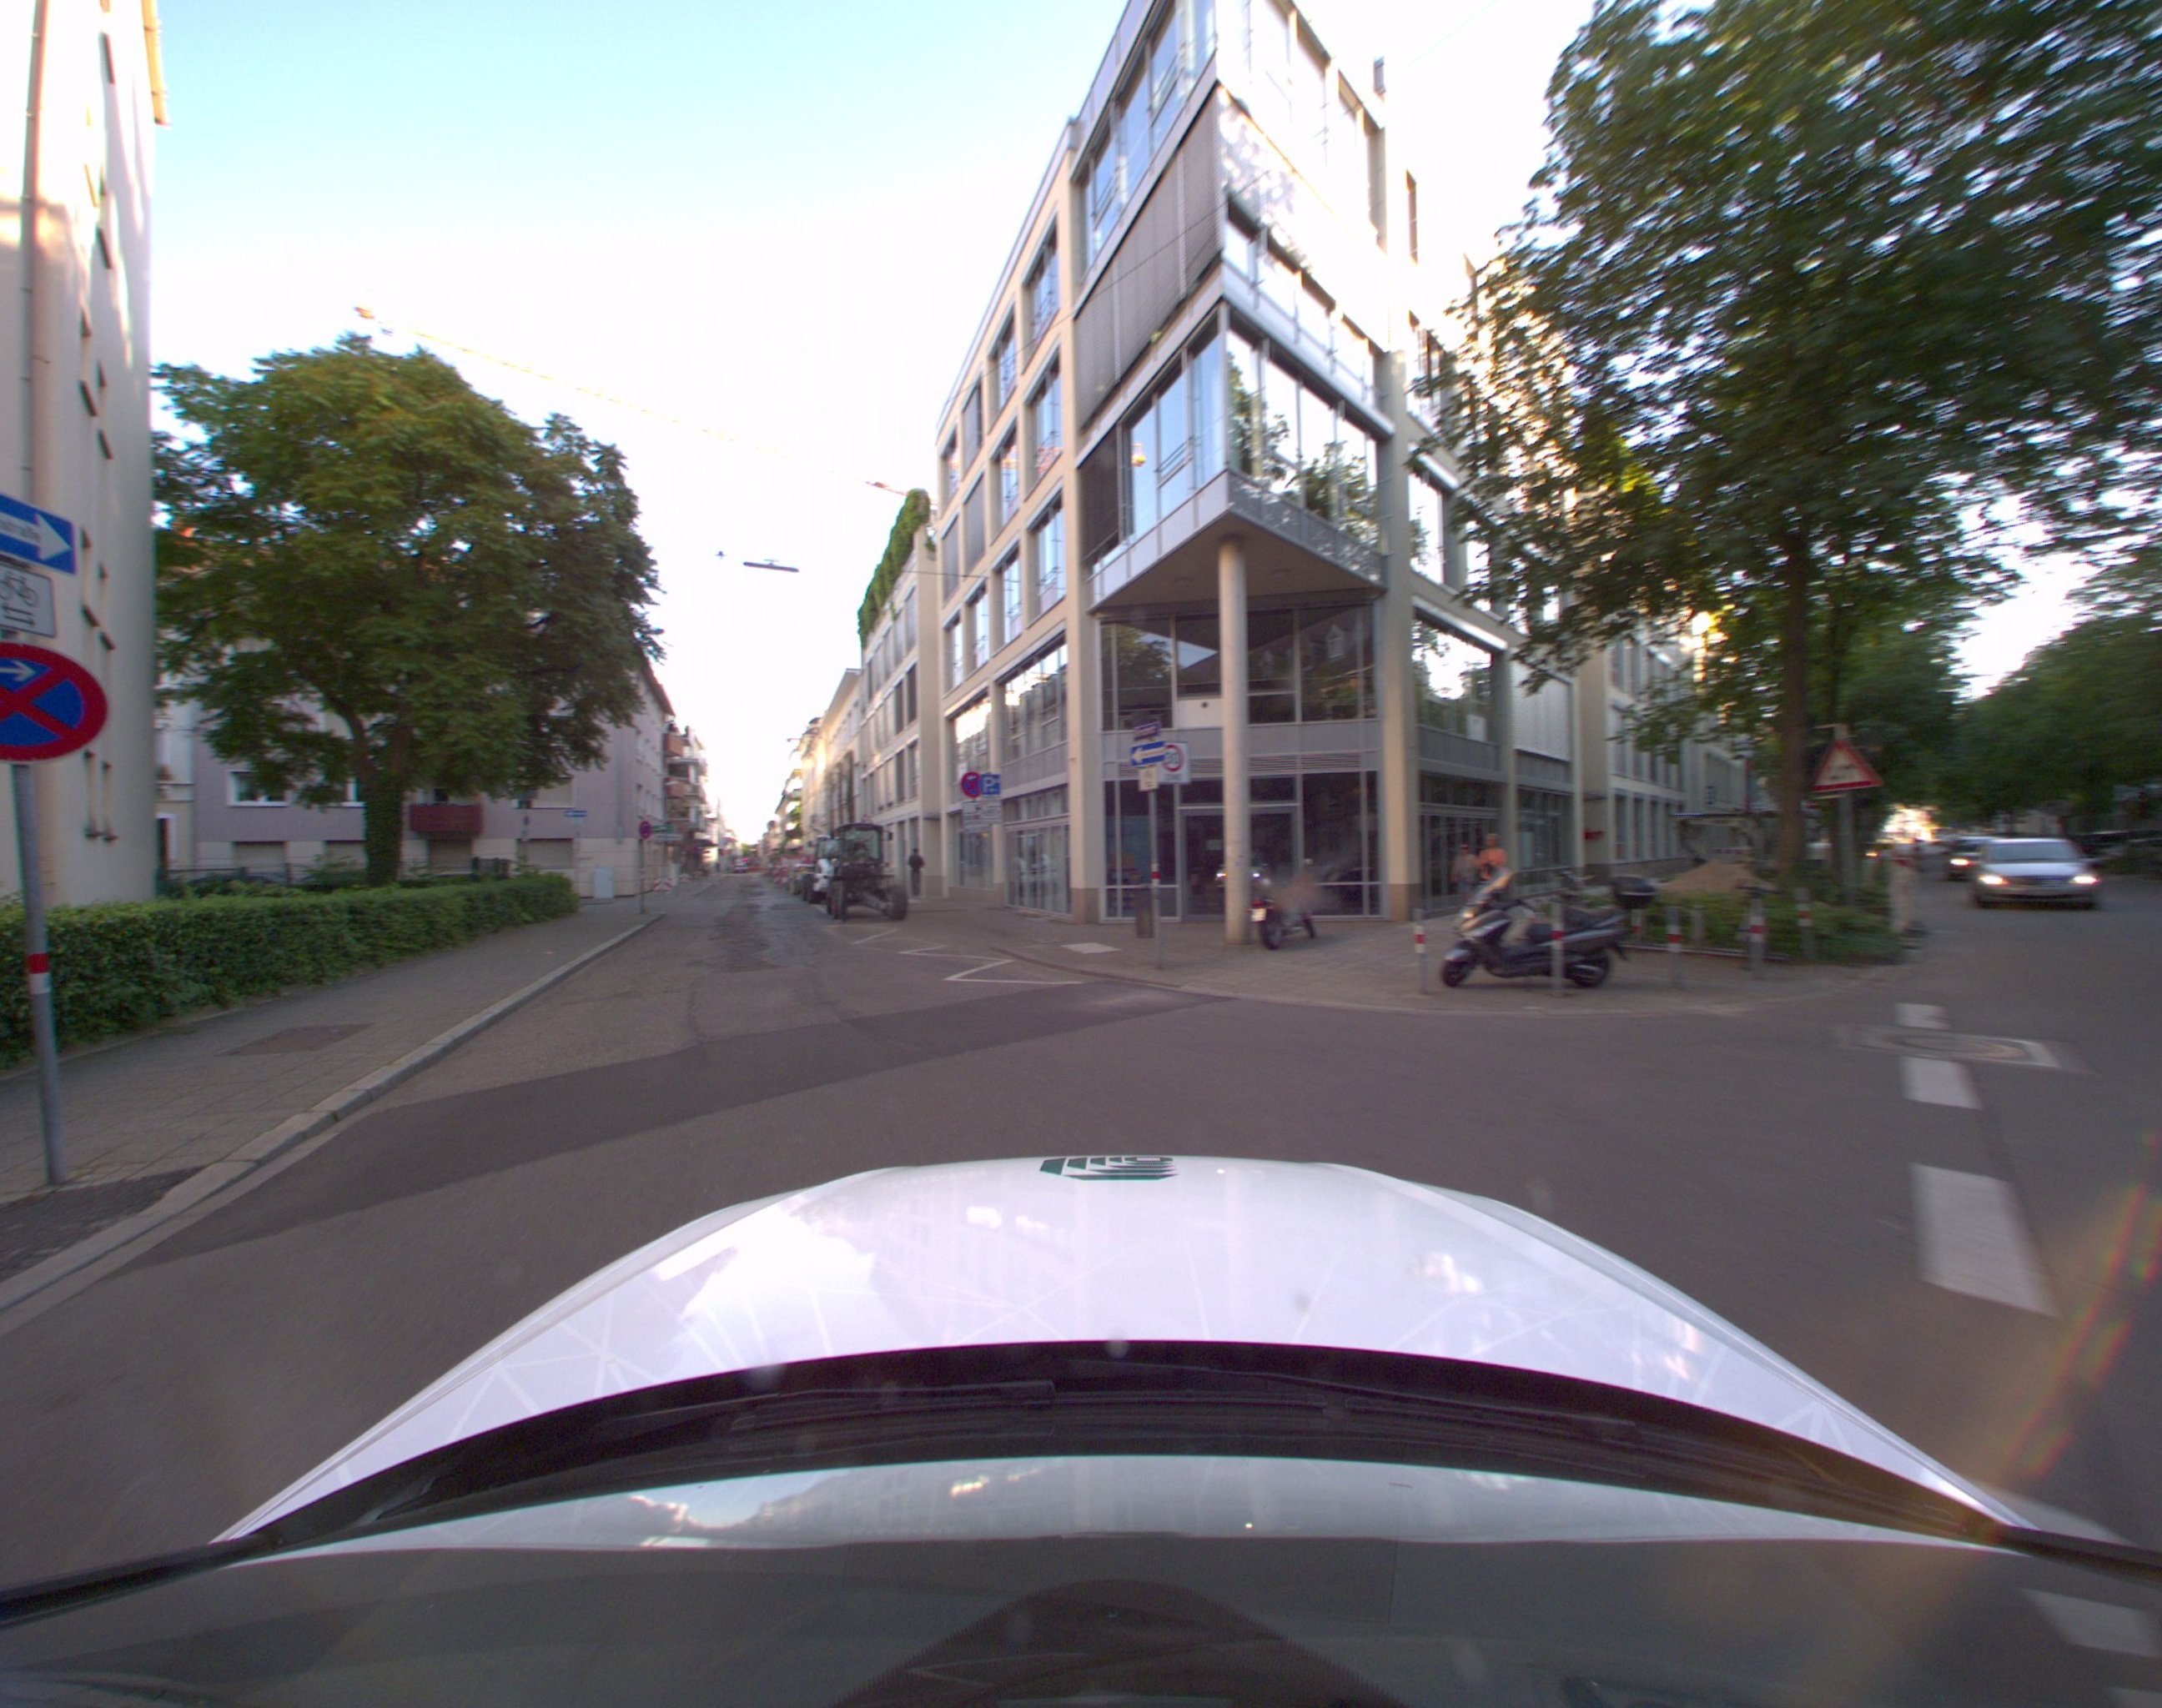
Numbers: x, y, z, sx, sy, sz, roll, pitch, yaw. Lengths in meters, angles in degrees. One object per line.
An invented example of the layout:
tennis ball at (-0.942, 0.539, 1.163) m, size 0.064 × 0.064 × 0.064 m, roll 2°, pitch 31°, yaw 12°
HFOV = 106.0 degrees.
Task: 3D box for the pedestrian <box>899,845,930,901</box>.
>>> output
pedestrian at (-5.716, 0.632, 27.923) m, size 0.890 × 1.851 × 0.870 m, roll -2°, pitch 0°, yaw -20°

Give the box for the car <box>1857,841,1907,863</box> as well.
car at (51.503, -0.135, 52.415) m, size 1.974 × 1.288 × 4.025 m, roll -1°, pitch 0°, yaw 40°

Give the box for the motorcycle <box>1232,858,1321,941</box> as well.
motorcycle at (3.224, 0.693, 13.238) m, size 0.551 × 1.172 × 2.323 m, roll -2°, pitch 0°, yaw 35°

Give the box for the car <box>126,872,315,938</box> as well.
car at (-26.511, 1.513, 25.280) m, size 3.539 × 1.757 × 1.870 m, roll -1°, pitch 1°, yaw -26°

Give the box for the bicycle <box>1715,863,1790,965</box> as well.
bicycle at (8.766, 0.727, 10.653) m, size 0.676 × 1.152 × 1.993 m, roll -2°, pitch 0°, yaw 39°

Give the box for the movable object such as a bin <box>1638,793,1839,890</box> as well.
movable object such as a bin at (17.814, -0.296, 22.251) m, size 4.007 × 2.383 × 2.802 m, roll -2°, pitch 0°, yaw 39°

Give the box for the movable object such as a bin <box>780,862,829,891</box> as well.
movable object such as a bin at (-14.633, 1.150, 42.943) m, size 2.056 × 1.411 × 3.942 m, roll -2°, pitch 0°, yaw -24°

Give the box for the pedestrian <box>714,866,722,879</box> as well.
pedestrian at (-44.788, 2.284, 100.493) m, size 0.800 × 1.661 × 0.739 m, roll -1°, pitch -1°, yaw -20°

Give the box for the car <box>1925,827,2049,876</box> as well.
car at (34.826, -0.116, 31.299) m, size 4.711 × 1.714 × 1.939 m, roll -2°, pitch 0°, yaw -26°

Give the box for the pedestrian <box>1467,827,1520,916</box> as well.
pedestrian at (8.061, 0.325, 15.916) m, size 0.610 × 1.690 × 0.732 m, roll -1°, pitch 0°, yaw -44°

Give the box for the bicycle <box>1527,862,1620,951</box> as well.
bicycle at (7.322, 0.725, 12.061) m, size 1.992 × 1.152 × 0.677 m, roll -2°, pitch 0°, yaw -45°

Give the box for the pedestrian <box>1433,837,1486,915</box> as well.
pedestrian at (7.710, 0.438, 16.594) m, size 0.762 × 1.536 × 0.646 m, roll -2°, pitch 0°, yaw 45°

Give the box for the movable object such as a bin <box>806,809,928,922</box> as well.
movable object such as a bin at (-6.086, 0.279, 22.562) m, size 2.288 × 2.692 × 5.603 m, roll -2°, pitch 0°, yaw -24°

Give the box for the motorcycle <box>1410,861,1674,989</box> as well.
motorcycle at (5.096, 0.761, 9.174) m, size 2.338 × 1.281 × 1.069 m, roll -2°, pitch 0°, yaw 4°

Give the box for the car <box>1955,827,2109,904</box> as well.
car at (22.351, 0.207, 19.315) m, size 1.991 × 1.613 × 4.144 m, roll -2°, pitch 0°, yaw 45°

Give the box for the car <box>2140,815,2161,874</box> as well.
car at (38.726, -0.336, 26.655) m, size 4.695 × 2.013 × 2.012 m, roll 0°, pitch 1°, yaw 44°

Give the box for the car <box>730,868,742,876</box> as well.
car at (-54.390, 2.843, 128.432) m, size 1.544 × 1.134 × 3.094 m, roll -2°, pitch 0°, yaw -26°

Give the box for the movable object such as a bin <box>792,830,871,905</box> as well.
movable object such as a bin at (-9.436, 0.473, 30.608) m, size 2.288 × 2.540 × 4.064 m, roll -2°, pitch 0°, yaw -25°
